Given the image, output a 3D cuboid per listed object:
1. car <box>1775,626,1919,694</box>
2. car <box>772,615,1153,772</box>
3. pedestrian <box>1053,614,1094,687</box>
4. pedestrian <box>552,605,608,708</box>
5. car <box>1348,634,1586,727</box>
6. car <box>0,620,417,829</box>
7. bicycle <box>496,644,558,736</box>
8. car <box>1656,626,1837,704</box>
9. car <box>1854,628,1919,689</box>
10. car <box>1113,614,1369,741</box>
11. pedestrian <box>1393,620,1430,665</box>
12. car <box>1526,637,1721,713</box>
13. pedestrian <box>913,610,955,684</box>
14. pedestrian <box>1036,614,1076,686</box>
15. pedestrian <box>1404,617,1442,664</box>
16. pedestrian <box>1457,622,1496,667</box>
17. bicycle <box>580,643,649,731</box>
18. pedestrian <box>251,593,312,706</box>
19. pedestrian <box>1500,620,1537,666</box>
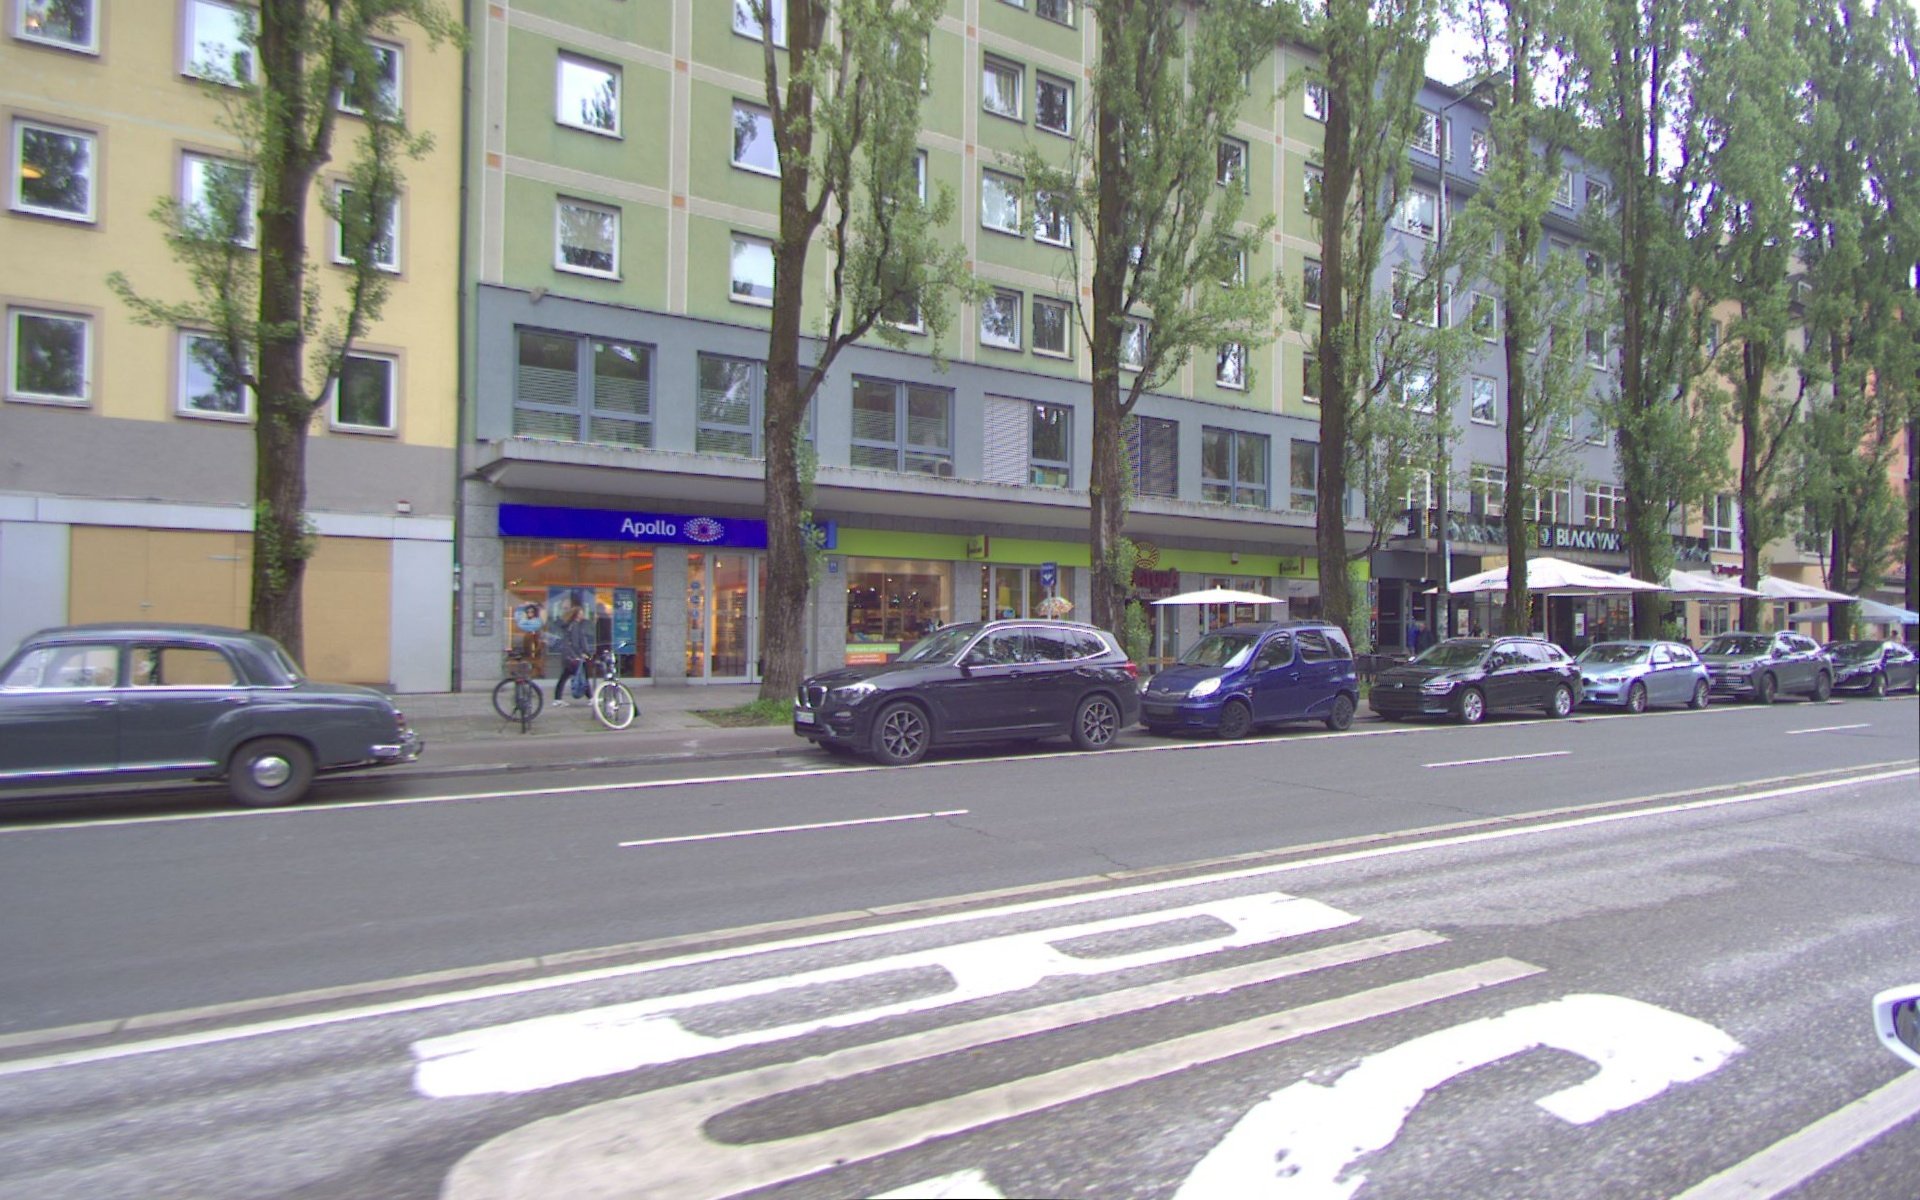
[{"bbox_3d":[23.740,1.569,26.705,4.071,1.687,1.858,1,-3,-30],"label":"car"},{"bbox_3d":[0.088,1.088,12.797,4.556,1.686,1.858,1,-3,-30],"label":"car"},{"bbox_3d":[2.683,1.191,23.776,0.666,1.708,0.753,2,-2,-28],"label":"pedestrian"},{"bbox_3d":[-6.470,0.956,17.101,0.775,1.708,0.753,2,-2,-28],"label":"pedestrian"},{"bbox_3d":[9.203,1.385,18.175,4.299,1.508,1.790,1,-3,-30],"label":"car"},{"bbox_3d":[-7.192,0.987,8.671,4.362,1.572,1.858,1,-3,-30],"label":"car"},{"bbox_3d":[-6.177,1.236,14.283,0.710,1.110,1.862,1,1,-26],"label":"bicycle"},{"bbox_3d":[18.566,1.494,23.670,4.349,1.687,1.858,1,-3,-30],"label":"car"},{"bbox_3d":[28.199,1.687,29.391,4.071,1.687,1.858,1,-3,-30],"label":"car"},{"bbox_3d":[4.415,1.146,15.628,3.880,1.743,1.700,1,-3,-33],"label":"car"},{"bbox_3d":[14.842,1.381,33.029,0.755,1.428,0.797,2,0,-18],"label":"pedestrian"},{"bbox_3d":[13.793,1.502,20.840,4.094,1.444,1.725,1,-3,-30],"label":"car"},{"bbox_3d":[-0.611,1.104,23.763,0.749,1.708,0.670,2,-2,-29],"label":"pedestrian"},{"bbox_3d":[2.342,1.209,24.469,0.666,1.708,0.753,2,-2,-28],"label":"pedestrian"},{"bbox_3d":[14.483,1.256,31.412,0.792,1.428,0.760,2,0,-34],"label":"pedestrian"},{"bbox_3d":[16.932,1.441,32.940,0.756,1.428,0.797,2,0,-18],"label":"pedestrian"},{"bbox_3d":[-5.155,1.254,14.921,0.710,1.110,1.862,1,1,-26],"label":"bicycle"},{"bbox_3d":[-10.639,0.771,15.765,0.667,1.708,0.753,2,-2,-29],"label":"pedestrian"},{"bbox_3d":[17.869,1.358,32.142,0.792,1.428,0.760,2,0,-34],"label":"pedestrian"}]
